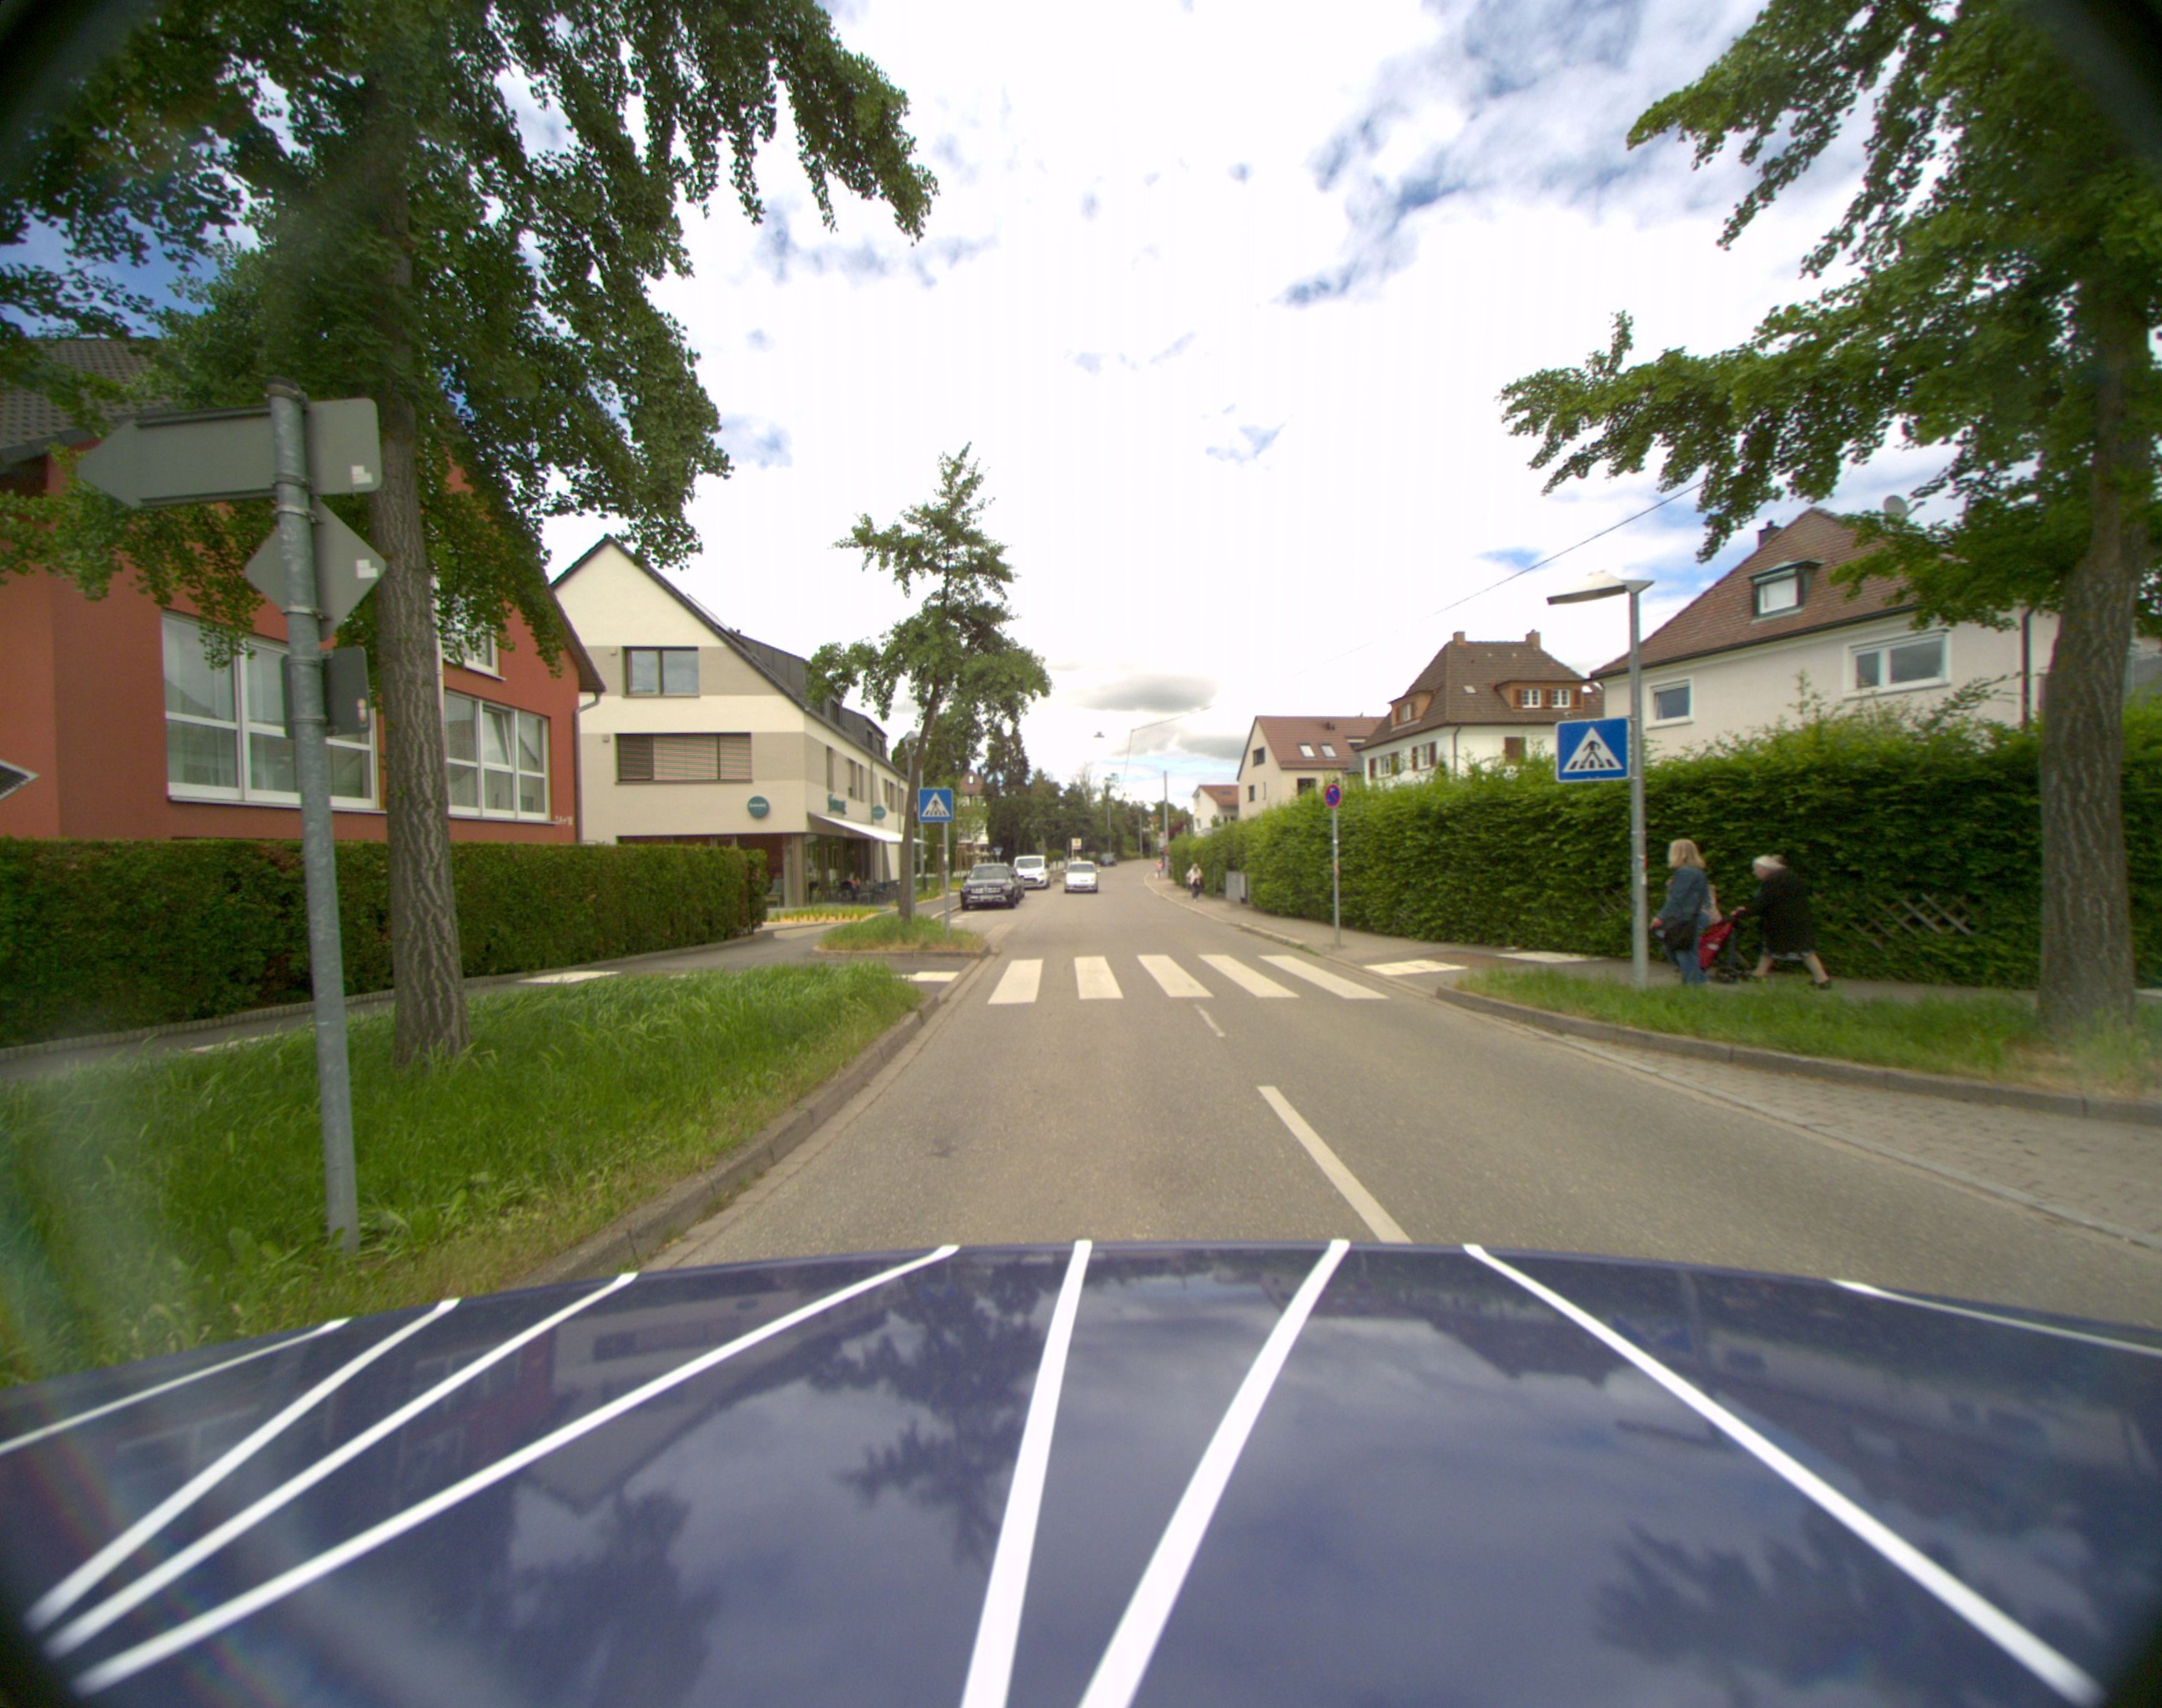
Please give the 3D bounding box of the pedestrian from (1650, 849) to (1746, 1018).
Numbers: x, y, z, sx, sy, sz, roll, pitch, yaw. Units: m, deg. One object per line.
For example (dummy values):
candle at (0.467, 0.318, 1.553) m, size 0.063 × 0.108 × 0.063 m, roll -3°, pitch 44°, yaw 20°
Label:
pedestrian at (6.278, 0.784, 7.767) m, size 0.597 × 1.610 × 0.679 m, roll -4°, pitch 0°, yaw 31°

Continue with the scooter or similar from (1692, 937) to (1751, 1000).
scooter or similar at (7.086, 1.257, 8.417) m, size 0.399 × 0.606 × 0.489 m, roll -4°, pitch 1°, yaw 31°

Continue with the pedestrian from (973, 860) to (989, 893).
pedestrian at (-5.039, 1.142, 38.302) m, size 0.678 × 1.659 × 0.660 m, roll 0°, pitch 1°, yaw 0°

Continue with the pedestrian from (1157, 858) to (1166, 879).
pedestrian at (6.183, 1.086, 58.552) m, size 0.619 × 1.589 × 0.608 m, roll -1°, pitch 0°, yaw -1°

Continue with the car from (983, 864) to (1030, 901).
car at (-3.230, 1.221, 33.629) m, size 1.711 × 1.444 × 3.834 m, roll -2°, pitch 0°, yaw -1°

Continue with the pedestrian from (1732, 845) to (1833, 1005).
pedestrian at (7.463, 0.733, 8.112) m, size 0.597 × 1.610 × 0.679 m, roll -4°, pitch 0°, yaw 31°

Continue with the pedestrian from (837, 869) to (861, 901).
pedestrian at (-9.365, 1.243, 30.676) m, size 0.753 × 1.231 × 0.691 m, roll -1°, pitch 0°, yaw -6°

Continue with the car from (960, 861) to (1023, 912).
car at (-3.194, 1.129, 27.878) m, size 1.852 × 1.627 × 4.465 m, roll -2°, pitch 0°, yaw -2°

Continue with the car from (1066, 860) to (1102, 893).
car at (0.174, 1.118, 39.148) m, size 1.726 × 1.559 × 3.927 m, roll -1°, pitch 0°, yaw 0°

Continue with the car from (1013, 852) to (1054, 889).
car at (-2.750, 0.936, 45.199) m, size 1.999 × 2.002 × 5.566 m, roll -3°, pitch 0°, yaw 0°

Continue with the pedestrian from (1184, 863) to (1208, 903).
pedestrian at (4.551, 1.125, 30.049) m, size 0.749 × 1.522 × 0.544 m, roll -3°, pitch 0°, yaw -13°

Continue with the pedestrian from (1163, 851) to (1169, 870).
pedestrian at (8.892, 0.655, 79.525) m, size 0.535 × 1.940 × 0.528 m, roll -1°, pitch 0°, yaw 10°
